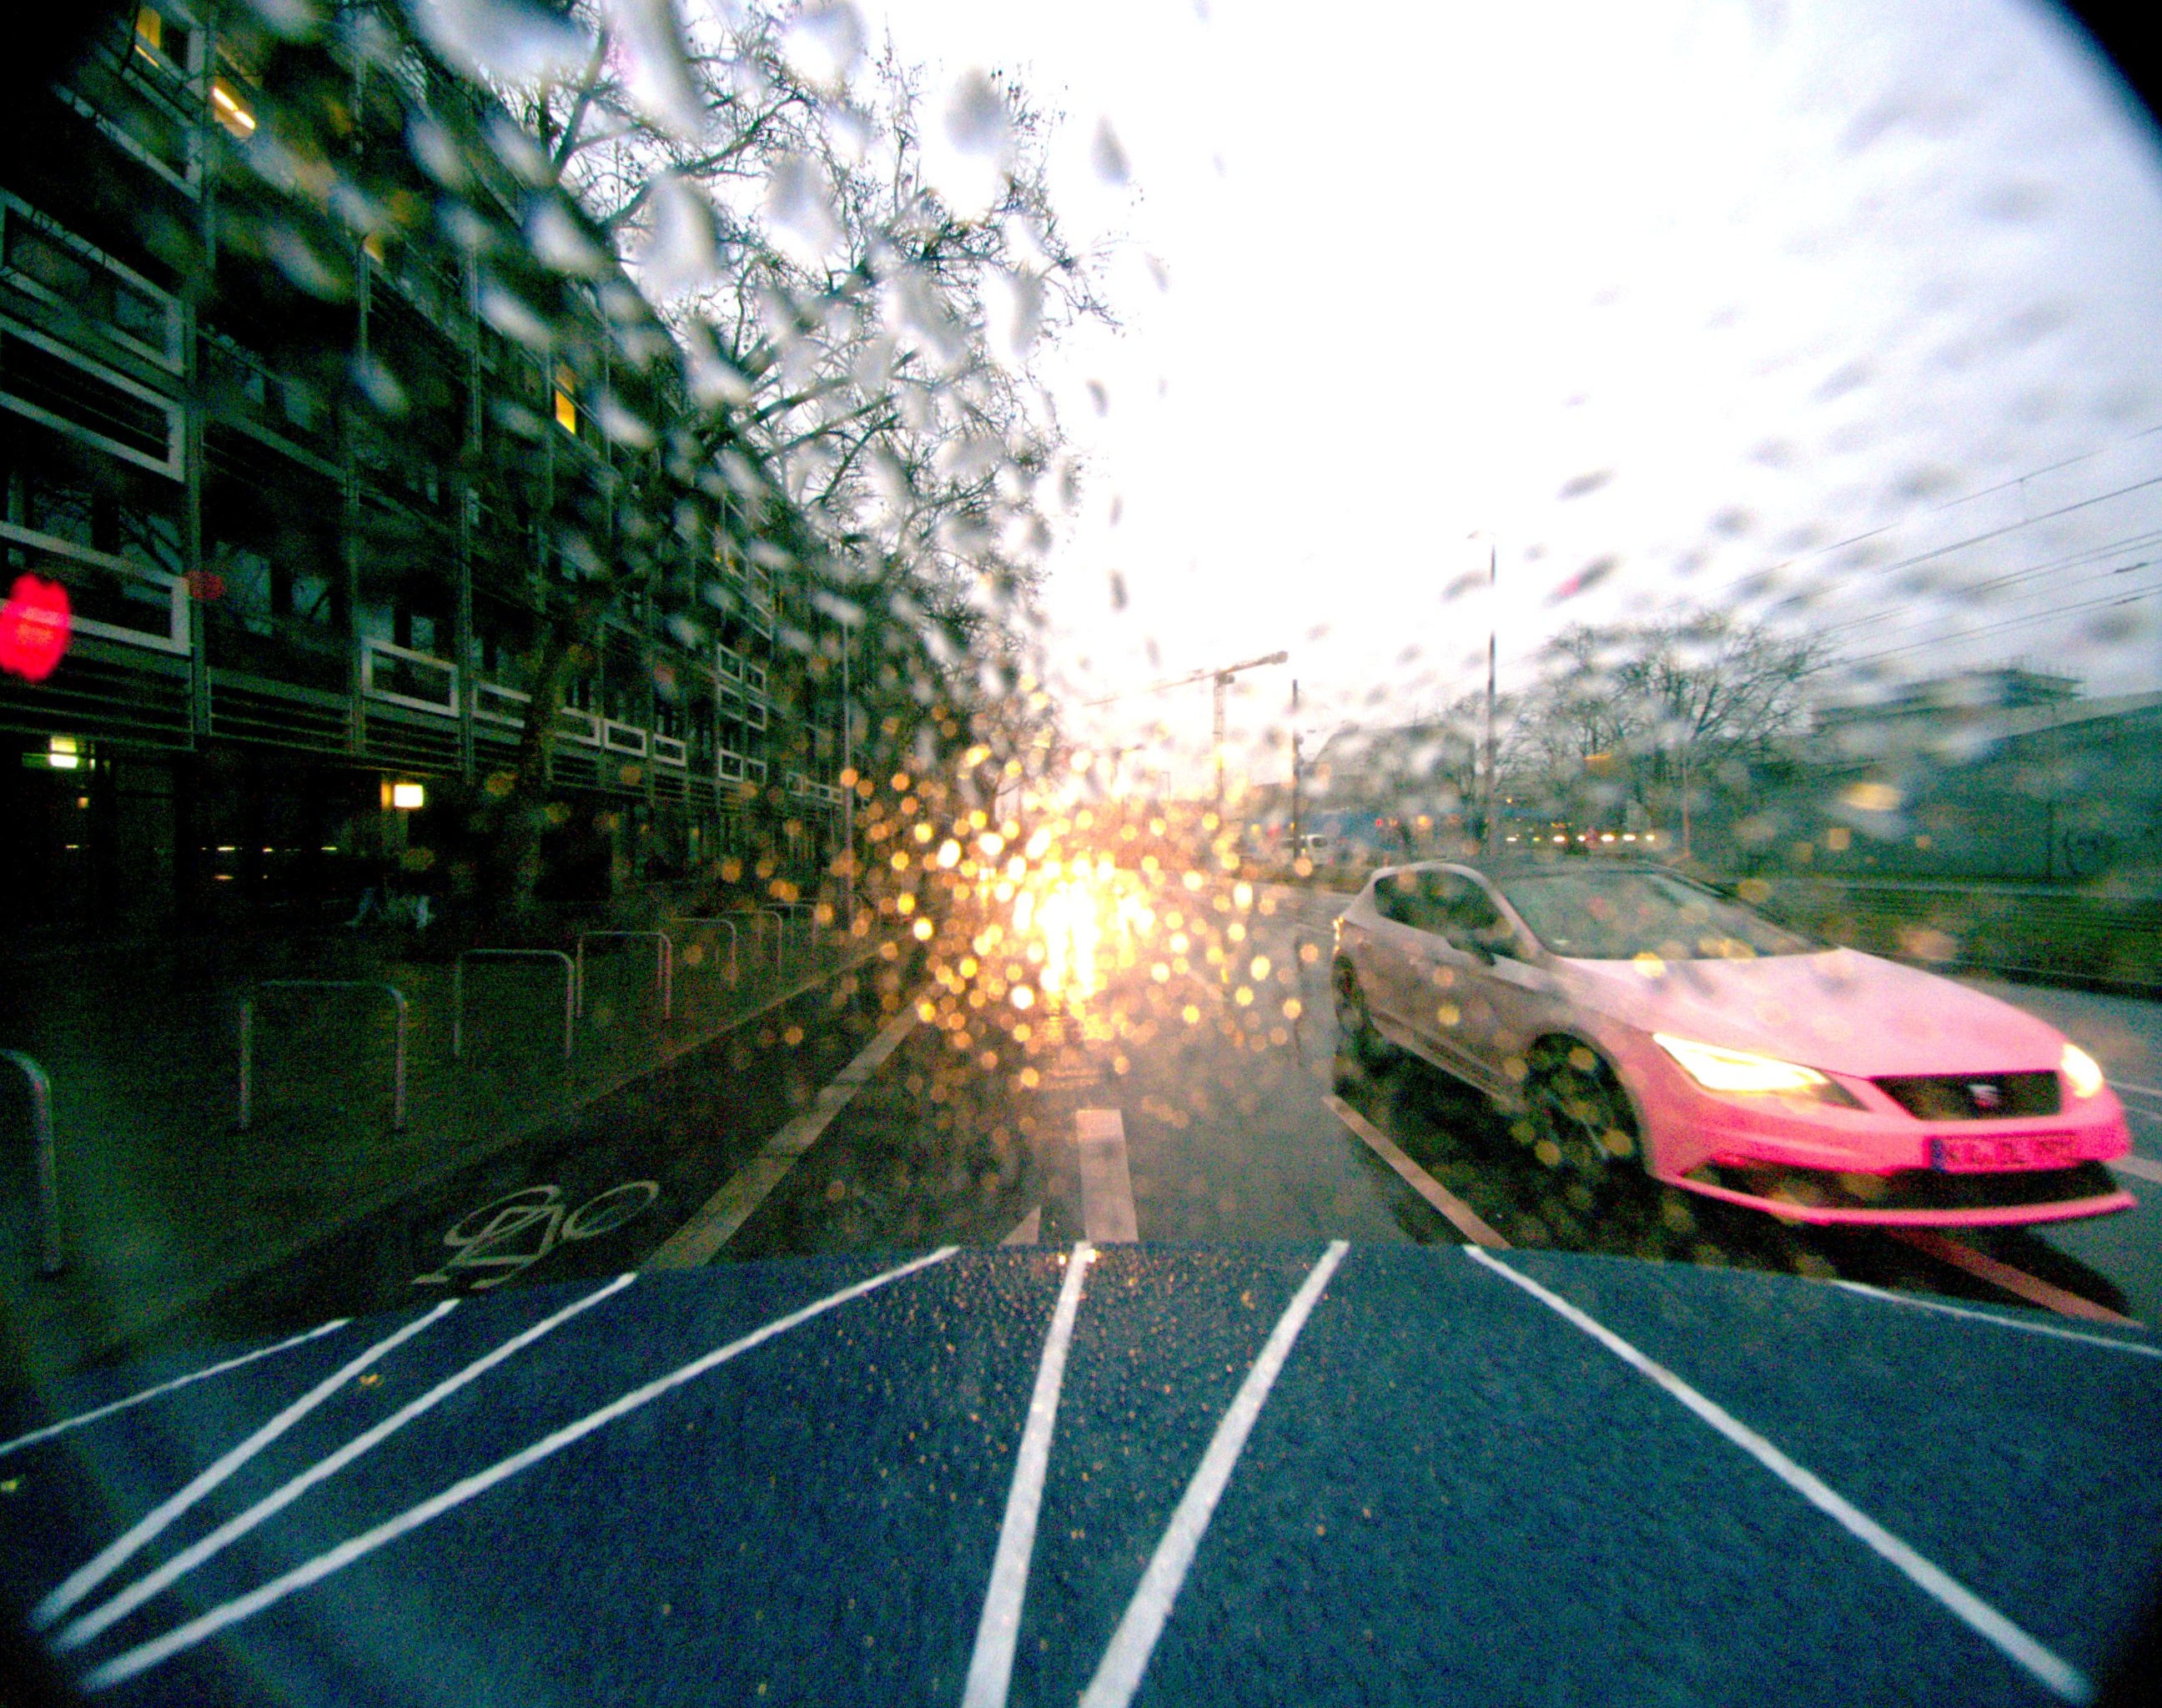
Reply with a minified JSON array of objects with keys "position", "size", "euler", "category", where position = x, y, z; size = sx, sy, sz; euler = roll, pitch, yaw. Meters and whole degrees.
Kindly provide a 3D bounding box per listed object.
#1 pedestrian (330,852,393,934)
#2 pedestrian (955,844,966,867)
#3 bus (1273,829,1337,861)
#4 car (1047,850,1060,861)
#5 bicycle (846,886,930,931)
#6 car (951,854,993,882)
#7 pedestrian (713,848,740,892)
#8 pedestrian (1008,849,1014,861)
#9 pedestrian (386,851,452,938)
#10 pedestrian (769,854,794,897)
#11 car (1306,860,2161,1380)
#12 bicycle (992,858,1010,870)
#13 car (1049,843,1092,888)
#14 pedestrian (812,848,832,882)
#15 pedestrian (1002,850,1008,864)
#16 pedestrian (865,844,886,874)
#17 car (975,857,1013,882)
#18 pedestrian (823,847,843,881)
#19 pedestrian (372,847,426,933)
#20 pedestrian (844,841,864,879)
[{"position":[-14.074,0.743,14.883],"size":[0.484,1.555,0.745],"euler":[-1,1,-1],"category":"pedestrian"},{"position":[-10.559,0.119,66.475],"size":[0.791,2.002,1.024],"euler":[-1,1,0],"category":"pedestrian"},{"position":[26.239,-1.012,89.937],"size":[2.815,3.557,12.298],"euler":[-1,0,-6],"category":"bus"},{"position":[-5.391,0.330,148.657],"size":[2.000,2.002,3.996],"euler":[-2,1,-9],"category":"car"},{"position":[-4.449,1.250,17.600],"size":[1.792,0.968,0.617],"euler":[1,1,-4],"category":"bicycle"},{"position":[-6.171,0.788,43.369],"size":[1.608,1.424,3.930],"euler":[2,1,2],"category":"car"},{"position":[-13.436,0.612,28.797],"size":[0.617,1.647,0.780],"euler":[-1,1,1],"category":"pedestrian"},{"position":[-12.568,0.154,136.262],"size":[0.838,2.002,0.771],"euler":[-2,2,-1],"category":"pedestrian"},{"position":[-12.978,0.772,14.920],"size":[0.501,1.658,0.873],"euler":[0,1,1],"category":"pedestrian"},{"position":[-10.919,0.763,27.740],"size":[0.649,1.535,0.615],"euler":[0,1,1],"category":"pedestrian"},{"position":[2.865,0.816,4.369],"size":[1.778,1.466,4.128],"euler":[-1,0,-2],"category":"car"},{"position":[-7.208,0.911,68.293],"size":[1.523,1.030,0.469],"euler":[-2,1,-7],"category":"bicycle"},{"position":[-0.436,0.499,35.536],"size":[1.858,2.002,4.000],"euler":[-1,0,1],"category":"car"},{"position":[-12.918,0.540,37.936],"size":[0.643,1.645,0.840],"euler":[-1,1,-42],"category":"pedestrian"},{"position":[-11.474,0.483,114.887],"size":[0.838,2.002,0.771],"euler":[-2,2,-1],"category":"pedestrian"},{"position":[-10.811,0.256,39.986],"size":[0.866,1.515,0.837],"euler":[-1,1,-2],"category":"pedestrian"},{"position":[-5.850,1.029,51.372],"size":[1.998,1.477,3.999],"euler":[-2,1,1],"category":"car"},{"position":[-12.605,0.500,38.619],"size":[0.662,1.708,0.840],"euler":[-1,1,-38],"category":"pedestrian"},{"position":[-13.481,0.697,15.041],"size":[0.379,1.658,0.713],"euler":[0,1,1],"category":"pedestrian"},{"position":[-11.978,0.325,40.168],"size":[0.822,2.002,0.735],"euler":[-1,1,-2],"category":"pedestrian"}]
